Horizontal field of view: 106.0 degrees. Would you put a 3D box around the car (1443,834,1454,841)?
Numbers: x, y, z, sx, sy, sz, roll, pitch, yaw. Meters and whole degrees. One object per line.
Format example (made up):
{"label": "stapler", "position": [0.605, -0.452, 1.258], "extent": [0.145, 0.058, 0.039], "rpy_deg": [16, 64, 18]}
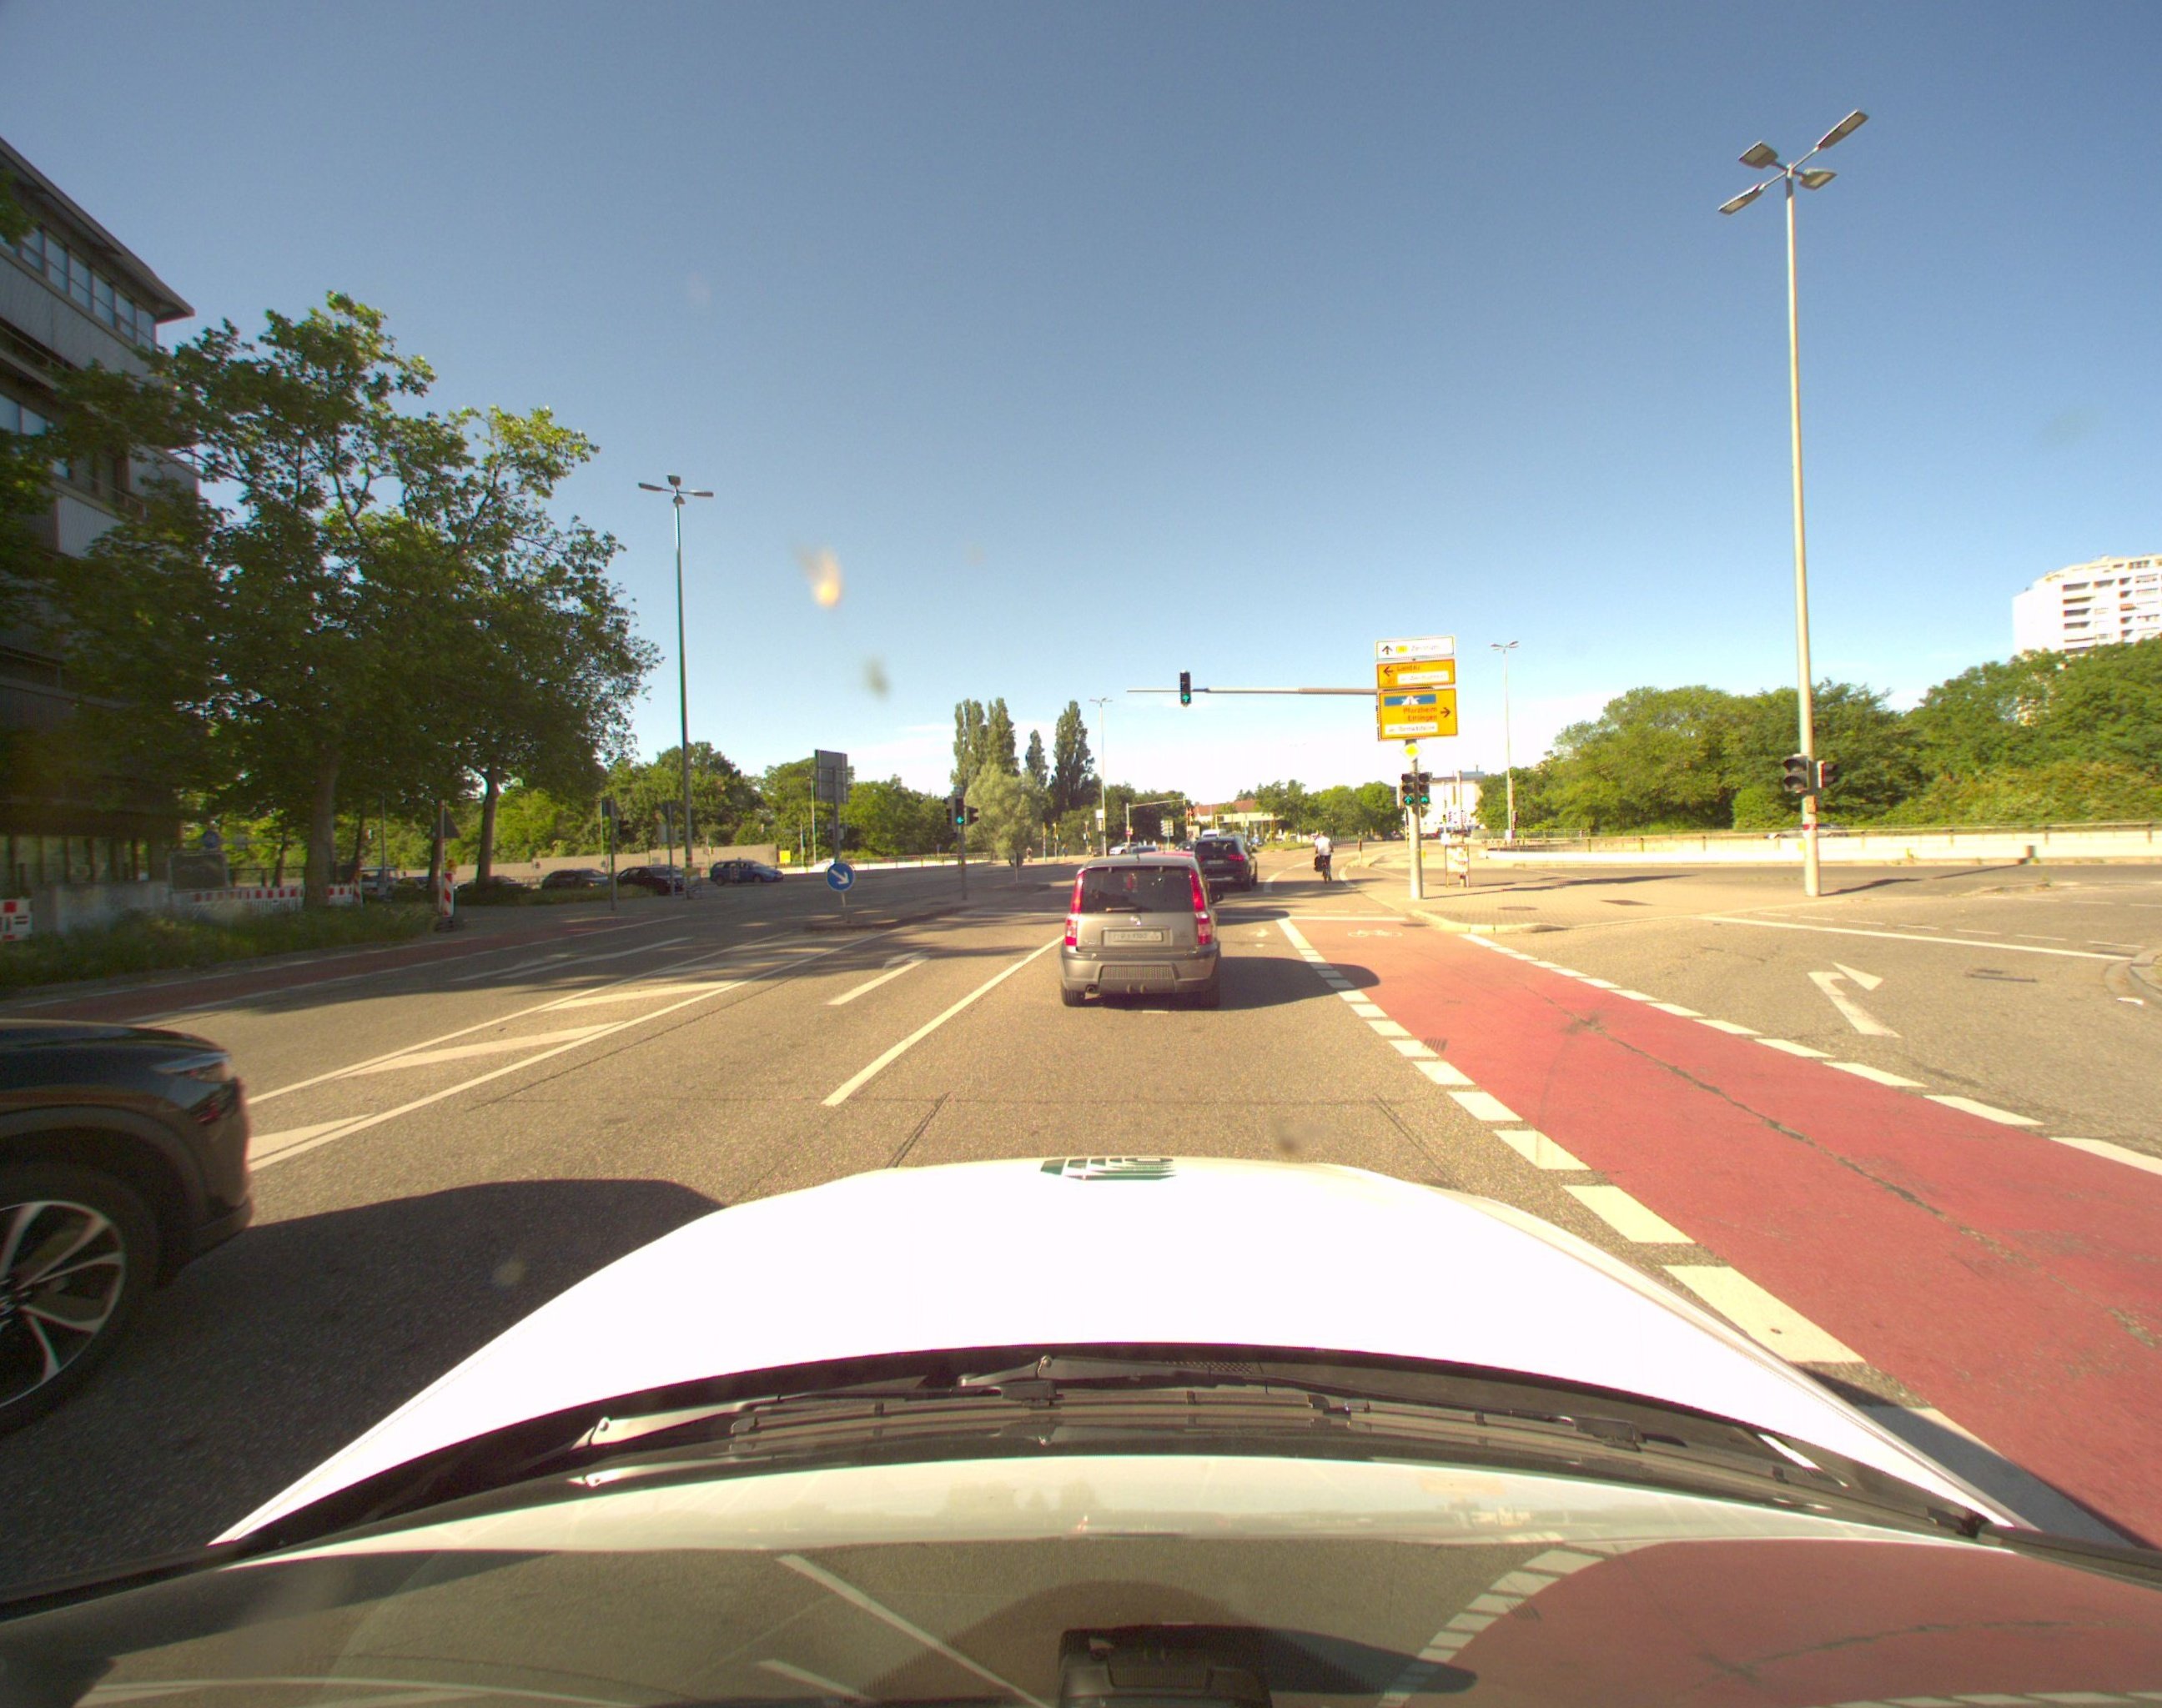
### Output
{"label": "car", "position": [89.368, -4.048, 198.091], "extent": [1.926, 1.528, 4.123], "rpy_deg": [-2, 1, 29]}

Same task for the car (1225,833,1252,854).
{"label": "car", "position": [16.515, -1.136, 85.097], "extent": [1.920, 2.008, 4.957], "rpy_deg": [-2, 1, 21]}

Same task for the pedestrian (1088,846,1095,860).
{"label": "pedestrian", "position": [1.230, -0.142, 95.155], "extent": [0.557, 1.547, 0.573], "rpy_deg": [-3, -1, -15]}

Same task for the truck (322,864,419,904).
{"label": "truck", "position": [-45.325, 1.932, 51.896], "extent": [7.419, 2.359, 2.177], "rpy_deg": [-2, 1, 29]}

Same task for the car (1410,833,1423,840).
{"label": "car", "position": [70.346, -3.672, 170.863], "extent": [1.927, 1.528, 4.123], "rpy_deg": [-2, 1, 29]}

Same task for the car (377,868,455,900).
{"label": "car", "position": [-37.831, 1.724, 46.337], "extent": [4.451, 1.644, 1.892], "rpy_deg": [-2, 1, 29]}

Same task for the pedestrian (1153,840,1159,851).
{"label": "pedestrian", "position": [11.356, -1.239, 123.313], "extent": [0.713, 1.641, 0.676], "rpy_deg": [-1, -1, 26]}

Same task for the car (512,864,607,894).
{"label": "car", "position": [-26.275, 1.247, 41.006], "extent": [4.453, 1.358, 1.891], "rpy_deg": [-2, 1, 25]}

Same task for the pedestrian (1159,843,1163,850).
{"label": "pedestrian", "position": [12.046, -1.137, 123.052], "extent": [0.419, 1.136, 0.400], "rpy_deg": [-1, -1, 26]}

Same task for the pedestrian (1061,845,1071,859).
{"label": "pedestrian", "position": [-1.642, -0.197, 90.067], "extent": [0.714, 1.547, 0.721], "rpy_deg": [-2, -1, -34]}

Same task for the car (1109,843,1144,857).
{"label": "car", "position": [5.626, -0.523, 100.254], "extent": [4.352, 1.535, 1.764], "rpy_deg": [-3, 2, -41]}

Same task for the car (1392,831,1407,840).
{"label": "car", "position": [57.049, -3.242, 145.642], "extent": [1.927, 1.528, 4.123], "rpy_deg": [-2, 1, 29]}

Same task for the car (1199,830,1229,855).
{"label": "car", "position": [14.550, -1.322, 88.774], "extent": [1.920, 2.576, 6.121], "rpy_deg": [-2, 1, 21]}

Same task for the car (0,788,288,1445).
{"label": "car", "position": [-3.835, 0.731, 0.772], "extent": [1.866, 1.709, 4.200], "rpy_deg": [-2, 1, 3]}

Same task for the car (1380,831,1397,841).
{"label": "car", "position": [49.996, -2.864, 132.379], "extent": [1.927, 1.528, 4.123], "rpy_deg": [-2, 1, 28]}

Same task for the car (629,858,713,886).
{"label": "car", "position": [-25.126, 1.112, 49.957], "extent": [4.409, 1.540, 1.960], "rpy_deg": [-2, 1, 16]}

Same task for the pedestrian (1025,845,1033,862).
{"label": "pedestrian", "position": [-4.660, -0.043, 73.189], "extent": [0.678, 1.463, 0.702], "rpy_deg": [-2, 0, -5]}

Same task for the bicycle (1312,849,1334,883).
{"label": "bicycle", "position": [8.393, 0.416, 28.221], "extent": [0.686, 1.102, 1.834], "rpy_deg": [-1, 1, 17]}

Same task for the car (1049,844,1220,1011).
{"label": "car", "position": [0.802, 0.658, 9.519], "extent": [1.608, 1.515, 3.830], "rpy_deg": [0, 1, 9]}

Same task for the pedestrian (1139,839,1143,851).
{"label": "pedestrian", "position": [8.804, -1.354, 119.391], "extent": [0.494, 1.702, 0.503], "rpy_deg": [-1, -1, 25]}

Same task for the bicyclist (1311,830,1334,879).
{"label": "bicyclist", "position": [8.372, -0.007, 28.160], "extent": [0.718, 1.659, 1.118], "rpy_deg": [-1, 1, 17]}

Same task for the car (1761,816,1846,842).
{"label": "car", "position": [49.226, -1.687, 55.609], "extent": [4.190, 1.552, 1.873], "rpy_deg": [-2, 1, 39]}

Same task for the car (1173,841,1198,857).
{"label": "car", "position": [11.568, -0.567, 89.994], "extent": [1.921, 1.507, 4.019], "rpy_deg": [-3, 0, 18]}

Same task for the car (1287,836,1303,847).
{"label": "car", "position": [34.428, -1.995, 130.828], "extent": [1.920, 1.622, 4.530], "rpy_deg": [-2, 1, 22]}

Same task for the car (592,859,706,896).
{"label": "car", "position": [-20.533, 1.102, 38.747], "extent": [4.733, 1.621, 1.960], "rpy_deg": [0, 1, 16]}

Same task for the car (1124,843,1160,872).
{"label": "car", "position": [3.241, 0.150, 43.641], "extent": [1.773, 1.415, 4.322], "rpy_deg": [-2, 1, 3]}

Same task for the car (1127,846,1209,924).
{"label": "car", "position": [1.980, 0.584, 17.792], "extent": [1.608, 1.463, 3.760], "rpy_deg": [0, 1, 8]}

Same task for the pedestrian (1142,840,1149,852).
{"label": "pedestrian", "position": [9.459, -1.161, 118.629], "extent": [0.782, 1.664, 0.633], "rpy_deg": [-1, -1, 43]}

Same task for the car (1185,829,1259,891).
{"label": "car", "position": [4.737, 0.136, 26.909], "extent": [1.930, 1.840, 4.170], "rpy_deg": [-2, 1, 16]}

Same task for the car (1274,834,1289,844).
{"label": "car", "position": [38.673, -2.945, 156.911], "extent": [1.975, 1.816, 4.024], "rpy_deg": [-1, -1, 28]}

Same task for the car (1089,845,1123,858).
{"label": "car", "position": [3.146, -0.340, 102.384], "extent": [4.019, 1.625, 1.879], "rpy_deg": [0, -1, -38]}

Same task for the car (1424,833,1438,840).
{"label": "car", "position": [83.001, -4.163, 193.064], "extent": [1.926, 1.528, 4.124], "rpy_deg": [-2, 1, 38]}

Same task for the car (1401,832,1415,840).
{"label": "car", "position": [63.908, -3.494, 158.977], "extent": [1.926, 1.528, 4.123], "rpy_deg": [-2, 1, 29]}

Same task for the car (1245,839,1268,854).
{"label": "car", "position": [21.106, -0.914, 97.730], "extent": [1.920, 1.622, 4.529], "rpy_deg": [-2, 1, 21]}

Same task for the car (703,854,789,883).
{"label": "car", "position": [-19.979, 0.875, 48.630], "extent": [4.412, 1.540, 1.959], "rpy_deg": [-2, 1, 14]}
